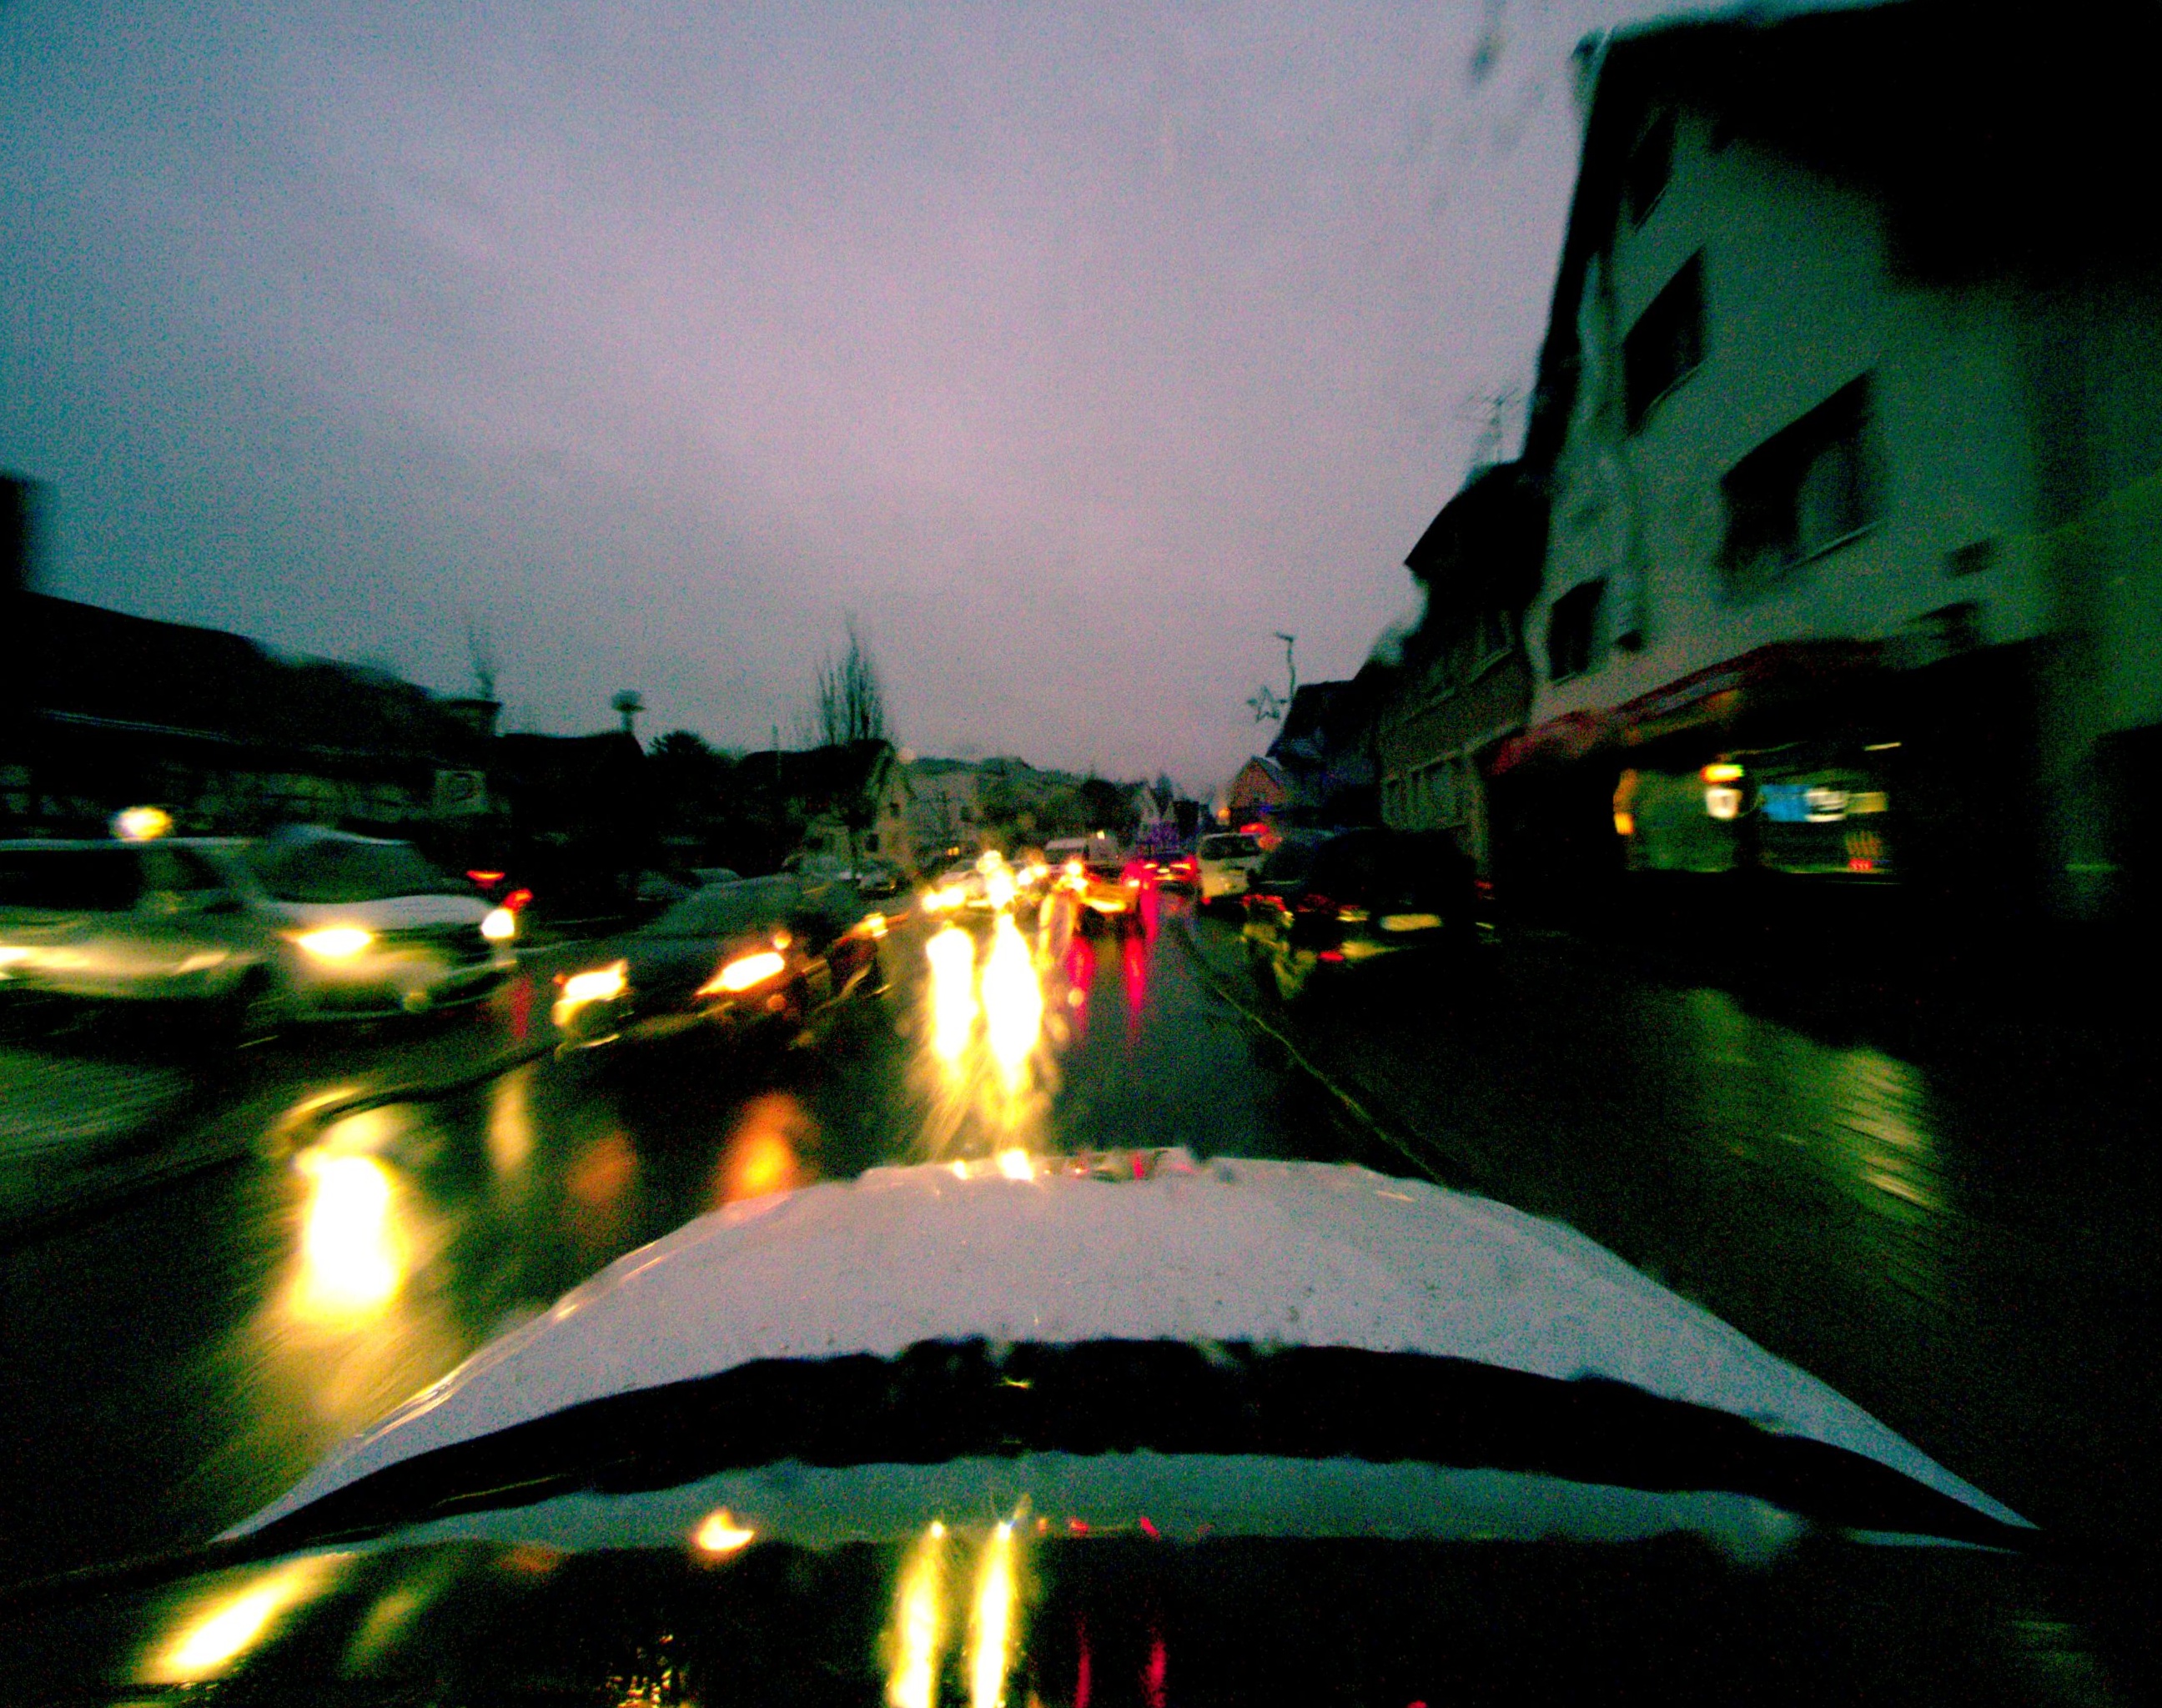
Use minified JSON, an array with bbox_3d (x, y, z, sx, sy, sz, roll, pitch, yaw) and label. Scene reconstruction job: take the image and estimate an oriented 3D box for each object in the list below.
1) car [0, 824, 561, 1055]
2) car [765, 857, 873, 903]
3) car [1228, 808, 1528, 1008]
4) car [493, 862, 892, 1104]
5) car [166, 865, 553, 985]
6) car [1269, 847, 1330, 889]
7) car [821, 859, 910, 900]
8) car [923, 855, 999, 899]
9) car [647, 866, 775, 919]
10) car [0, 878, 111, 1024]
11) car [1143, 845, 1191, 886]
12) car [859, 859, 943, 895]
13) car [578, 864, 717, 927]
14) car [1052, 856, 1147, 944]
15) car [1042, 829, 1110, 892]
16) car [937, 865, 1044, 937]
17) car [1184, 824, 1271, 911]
[{"bbox_3d":[-8.665,0.752,8.591,5.717,1.946,1.999,-1,1,16],"label":"car"},{"bbox_3d":[-10.501,1.062,32.480,4.596,1.654,2.000,-3,-1,41],"label":"car"},{"bbox_3d":[2.998,0.469,9.364,1.966,1.661,4.464,-3,0,3],"label":"car"},{"bbox_3d":[-3.064,0.889,7.403,1.613,1.480,3.840,-3,0,1],"label":"car"},{"bbox_3d":[-11.520,1.089,13.268,4.416,1.632,2.157,-2,-1,3],"label":"car"},{"bbox_3d":[9.007,0.561,33.807,1.726,1.561,3.667,-3,0,4],"label":"car"},{"bbox_3d":[-9.453,1.142,35.594,4.061,1.582,1.731,-4,-2,41],"label":"car"},{"bbox_3d":[-4.620,0.862,32.030,1.895,1.533,4.263,-2,0,6],"label":"car"},{"bbox_3d":[-11.347,1.172,24.895,4.021,1.459,1.769,-3,-1,36],"label":"car"},{"bbox_3d":[-14.831,1.305,9.762,4.723,1.635,2.007,-4,0,11],"label":"car"},{"bbox_3d":[3.843,0.491,35.821,1.786,1.662,4.012,-1,0,10],"label":"car"},{"bbox_3d":[-8.429,1.067,37.928,2.012,1.530,3.950,-2,0,-44],"label":"car"},{"bbox_3d":[-11.660,1.104,21.830,3.882,1.459,1.774,-3,0,37],"label":"car"},{"bbox_3d":[0.573,1.008,19.902,1.984,1.795,4.653,-2,0,4],"label":"car"},{"bbox_3d":[-0.112,0.252,35.902,2.183,2.490,6.154,-2,0,6],"label":"car"},{"bbox_3d":[-2.210,1.121,21.211,1.817,1.518,4.555,-3,0,5],"label":"car"},{"bbox_3d":[3.766,0.310,21.674,1.962,1.960,4.862,-2,0,7],"label":"car"}]
